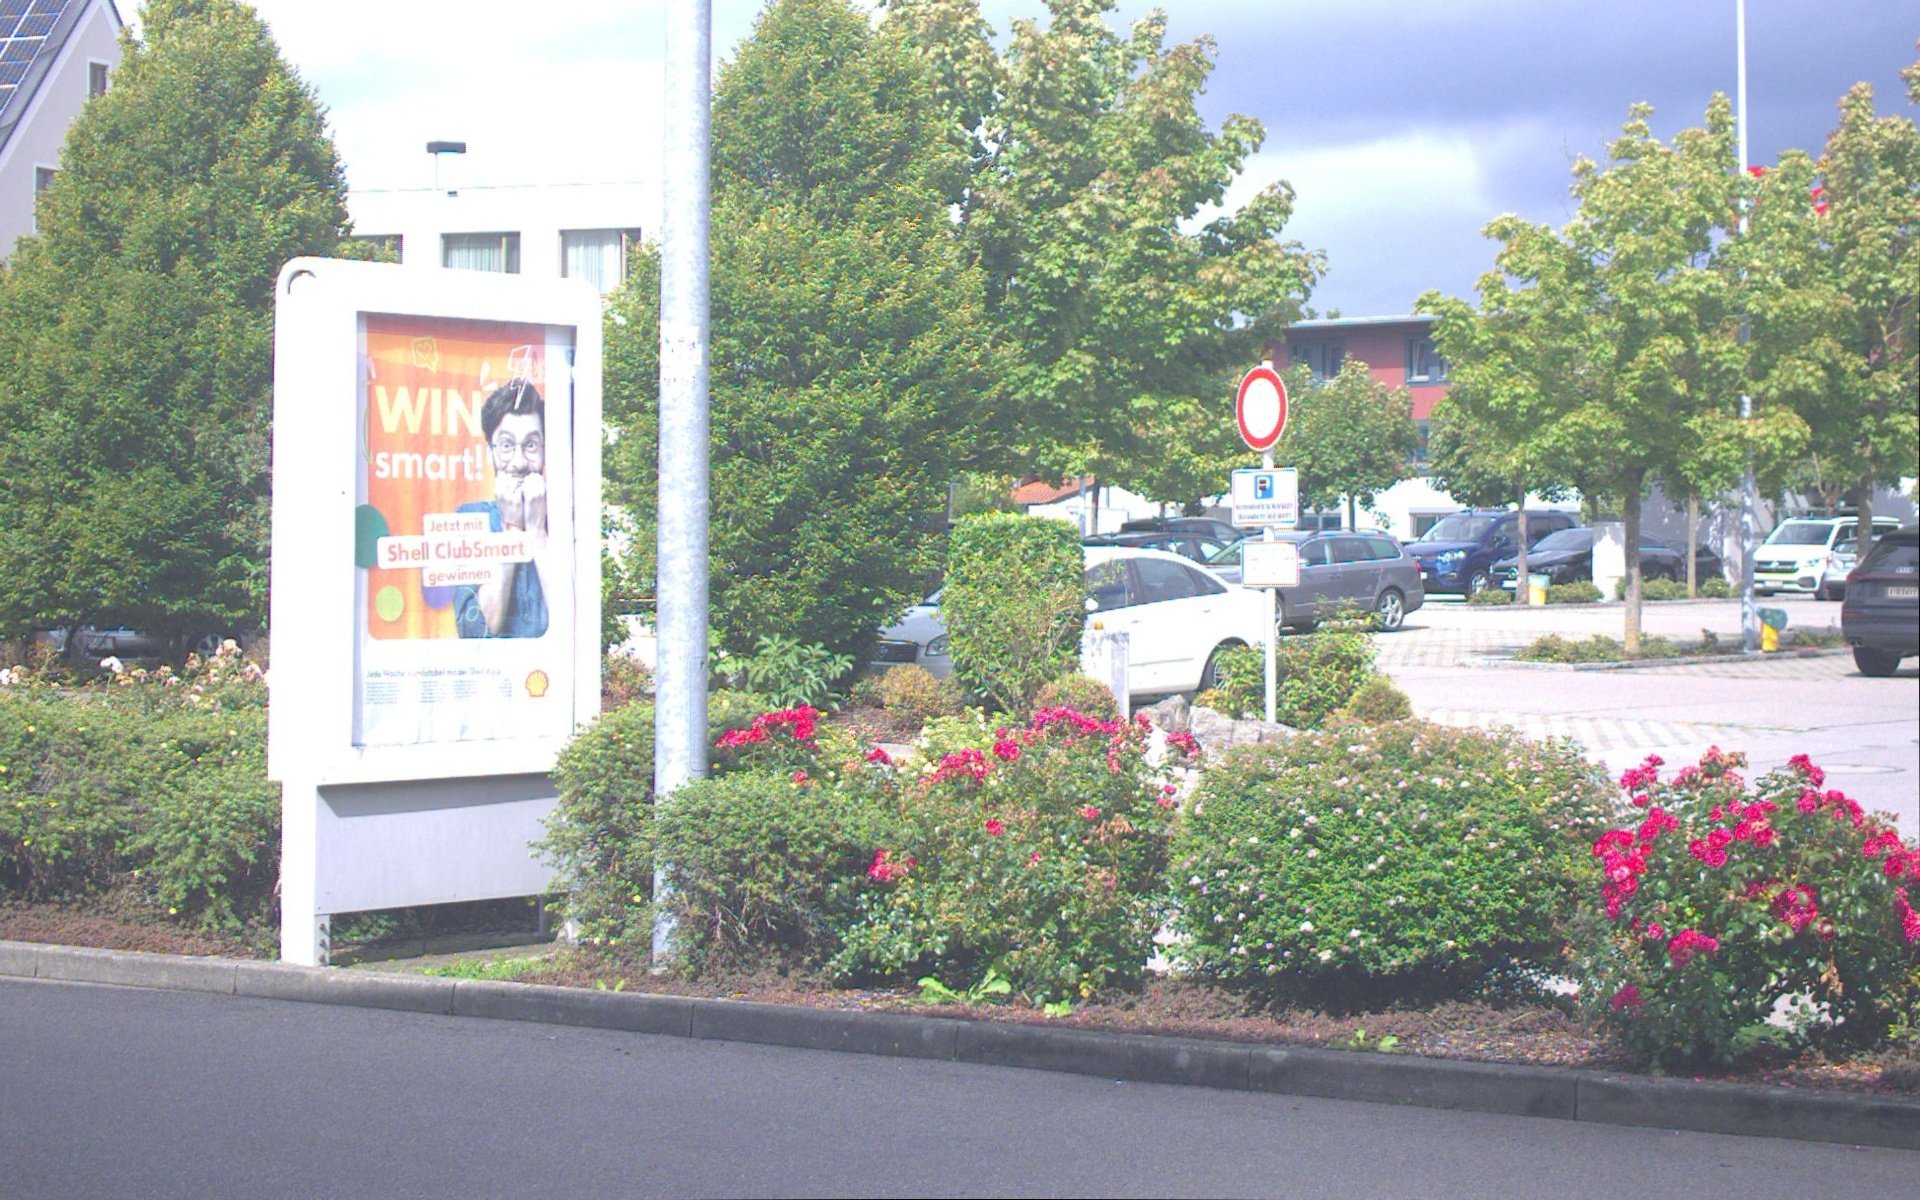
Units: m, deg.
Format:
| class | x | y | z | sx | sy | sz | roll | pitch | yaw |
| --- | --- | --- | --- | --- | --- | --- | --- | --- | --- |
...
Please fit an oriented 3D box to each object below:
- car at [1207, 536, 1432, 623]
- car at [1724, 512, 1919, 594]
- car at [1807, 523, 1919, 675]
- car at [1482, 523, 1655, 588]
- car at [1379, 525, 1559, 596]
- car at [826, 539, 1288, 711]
| class | x | y | z | sx | sy | sz | roll | pitch | yaw |
| --- | --- | --- | --- | --- | --- | --- | --- | --- | --- |
| car | 5.212 | -0.292 | 49.716 | 3.218 | 1.224 | 1.505 | 0 | 1 | -44 |
| car | 20.262 | -1.087 | 80.639 | 4.864 | 1.827 | 2.184 | 0 | 1 | -43 |
| car | 11.140 | -0.008 | 36.729 | 4.491 | 1.543 | 1.885 | 0 | 1 | -43 |
| car | 11.527 | -0.841 | 65.034 | 3.409 | 1.174 | 1.485 | 0 | 1 | -44 |
| car | 9.899 | -0.760 | 66.783 | 3.379 | 1.316 | 1.747 | 0 | 1 | -44 |
| car | 0.910 | 0.202 | 29.928 | 4.332 | 1.399 | 1.370 | 0 | 1 | -44 |
